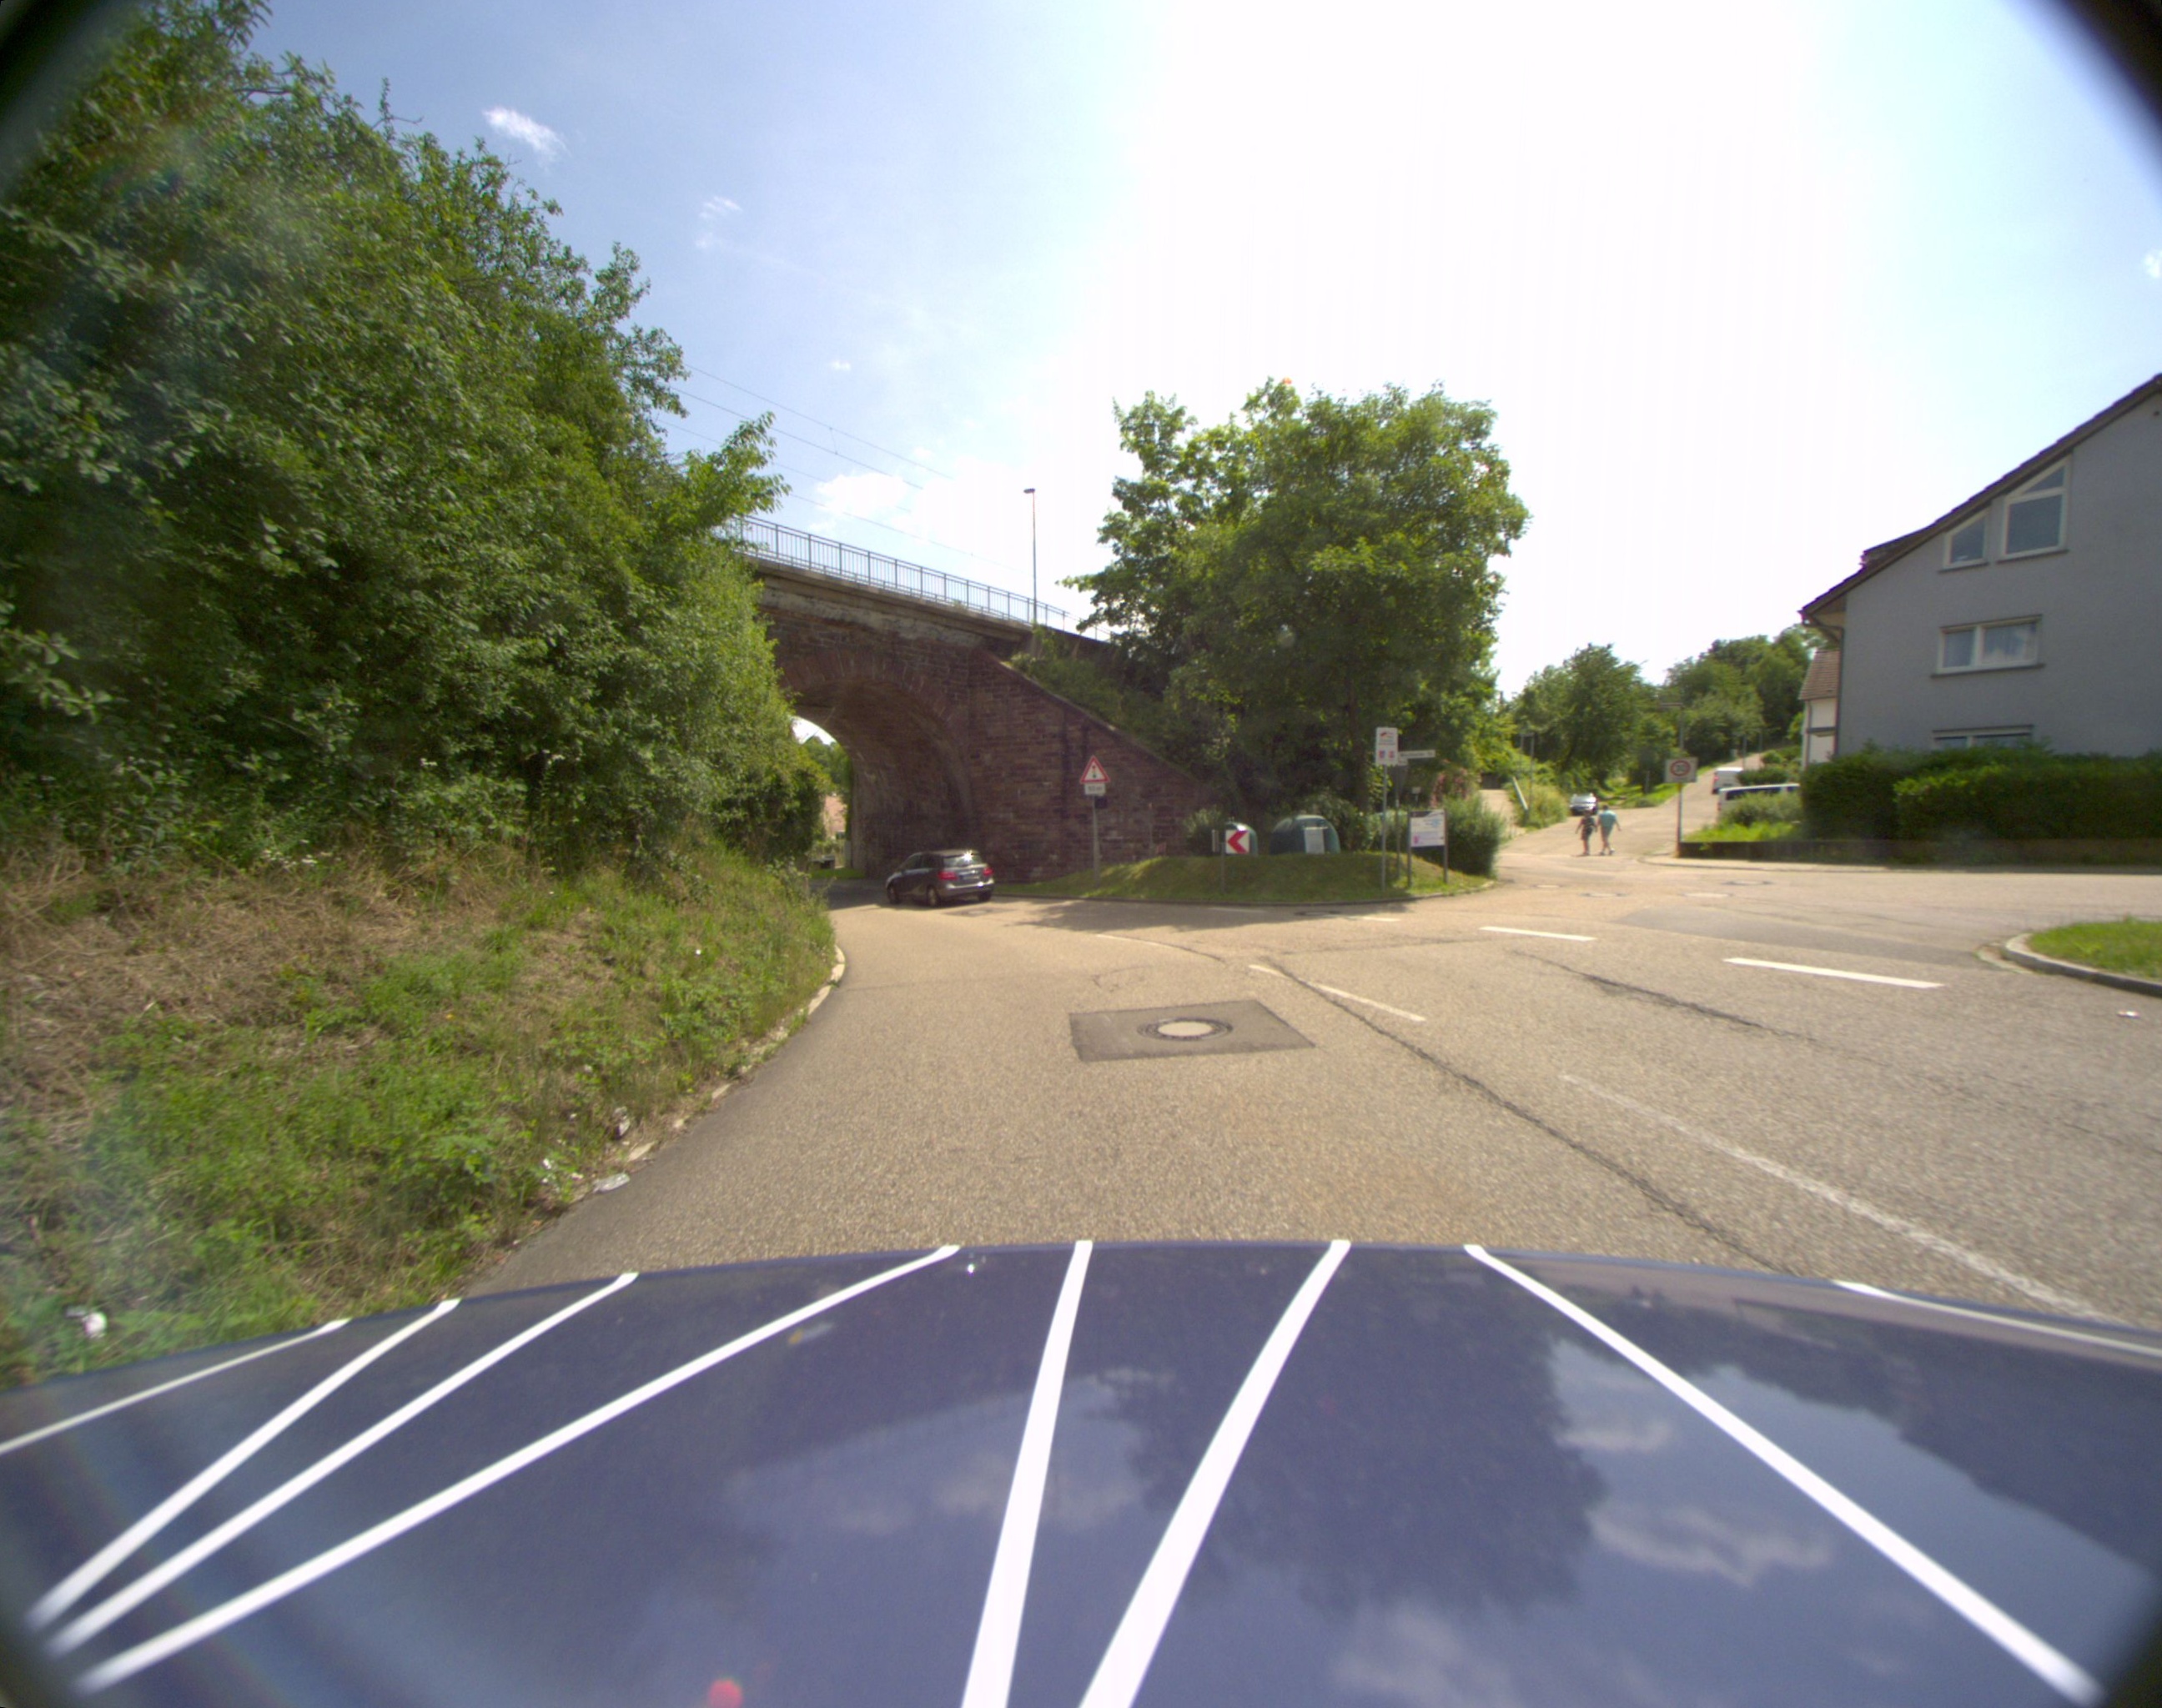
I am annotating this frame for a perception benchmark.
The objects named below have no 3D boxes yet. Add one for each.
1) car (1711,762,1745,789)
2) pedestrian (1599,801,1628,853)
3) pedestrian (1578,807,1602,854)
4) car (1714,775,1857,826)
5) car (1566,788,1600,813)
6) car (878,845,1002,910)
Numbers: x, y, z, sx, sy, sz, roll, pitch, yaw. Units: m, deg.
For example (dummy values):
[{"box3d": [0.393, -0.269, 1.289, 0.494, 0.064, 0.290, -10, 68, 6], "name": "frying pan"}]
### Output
[{"box3d": [54.832, -6.614, 64.467, 1.994, 2.002, 4.720, -2, 2, 39], "name": "car"}, {"box3d": [18.055, -0.927, 25.760, 0.686, 1.703, 0.791, -2, 3, 29], "name": "pedestrian"}, {"box3d": [17.286, -0.801, 25.804, 0.573, 1.546, 0.600, -2, 3, 29], "name": "pedestrian"}, {"box3d": [32.932, -2.438, 35.618, 2.003, 2.002, 4.699, -4, 2, -42], "name": "car"}, {"box3d": [36.089, -3.827, 54.595, 1.851, 1.633, 4.400, -2, 1, 36], "name": "car"}, {"box3d": [-4.240, 0.652, 22.394, 1.726, 1.547, 4.117, -9, 5, -38], "name": "car"}]
